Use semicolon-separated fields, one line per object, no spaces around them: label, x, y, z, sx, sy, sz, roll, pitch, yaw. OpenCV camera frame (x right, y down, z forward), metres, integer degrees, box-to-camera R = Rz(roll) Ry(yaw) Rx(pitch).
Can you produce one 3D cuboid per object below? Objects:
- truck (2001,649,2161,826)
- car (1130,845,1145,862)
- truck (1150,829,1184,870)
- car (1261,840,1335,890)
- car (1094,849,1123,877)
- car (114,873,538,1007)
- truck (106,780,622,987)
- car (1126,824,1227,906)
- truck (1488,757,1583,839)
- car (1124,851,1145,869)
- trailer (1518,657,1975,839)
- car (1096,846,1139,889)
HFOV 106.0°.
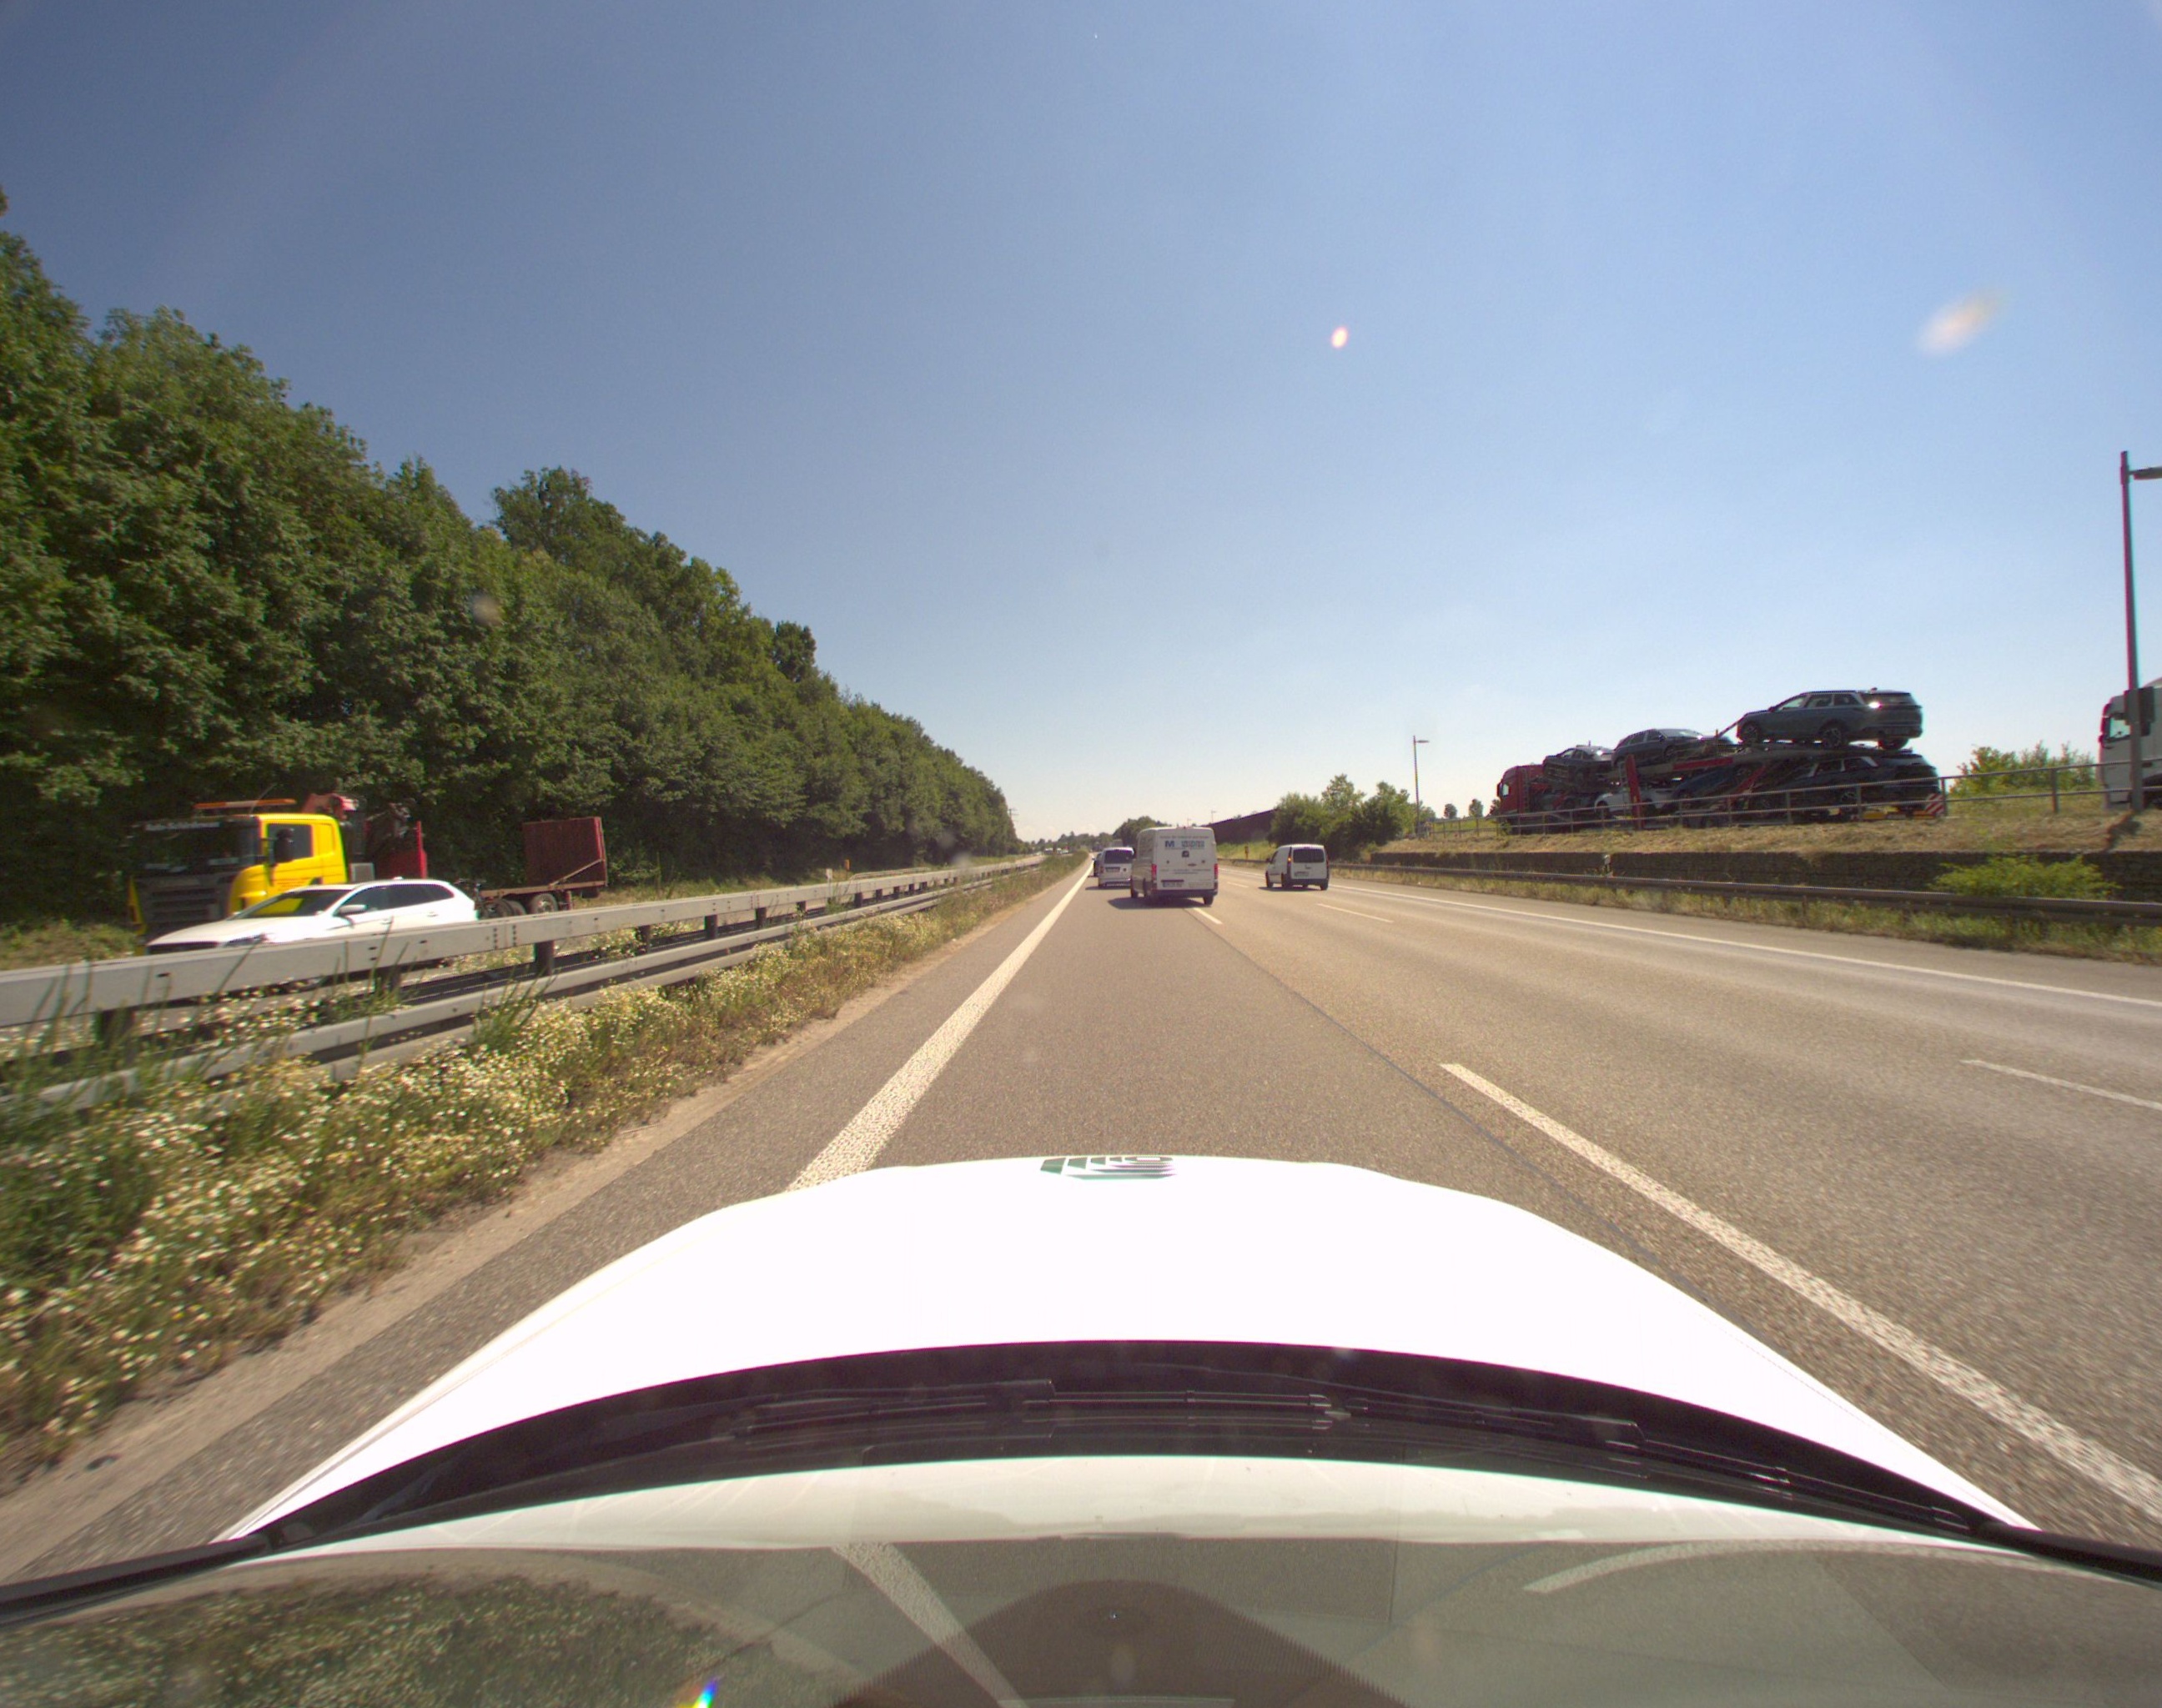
truck;27.386;-2.870;19.746;3.040;4.083;6.402;0;-1;3
car;6.526;-0.084;94.299;1.667;1.891;4.092;-2;-1;3
truck;11.043;-0.453;105.993;3.772;5.000;12.529;0;-1;3
car;8.800;0.443;33.318;1.943;1.838;4.179;-2;-1;1
car;1.825;0.560;52.914;1.737;1.701;4.092;-2;-1;4
car;-12.478;1.277;14.242;1.986;1.670;5.613;-4;-1;2
truck;-16.140;0.573;20.349;2.772;3.738;11.160;0;-1;1
car;2.814;0.329;25.339;2.177;2.254;5.356;-1;0;-4
truck;22.709;-2.715;40.890;2.592;3.827;4.001;0;-1;2
car;5.258;0.561;80.055;1.894;1.672;4.092;-2;-1;3
trailer;22.355;-2.950;30.540;2.595;4.258;18.428;0;0;2
car;1.645;0.575;36.283;1.737;1.764;4.092;-2;-1;3
